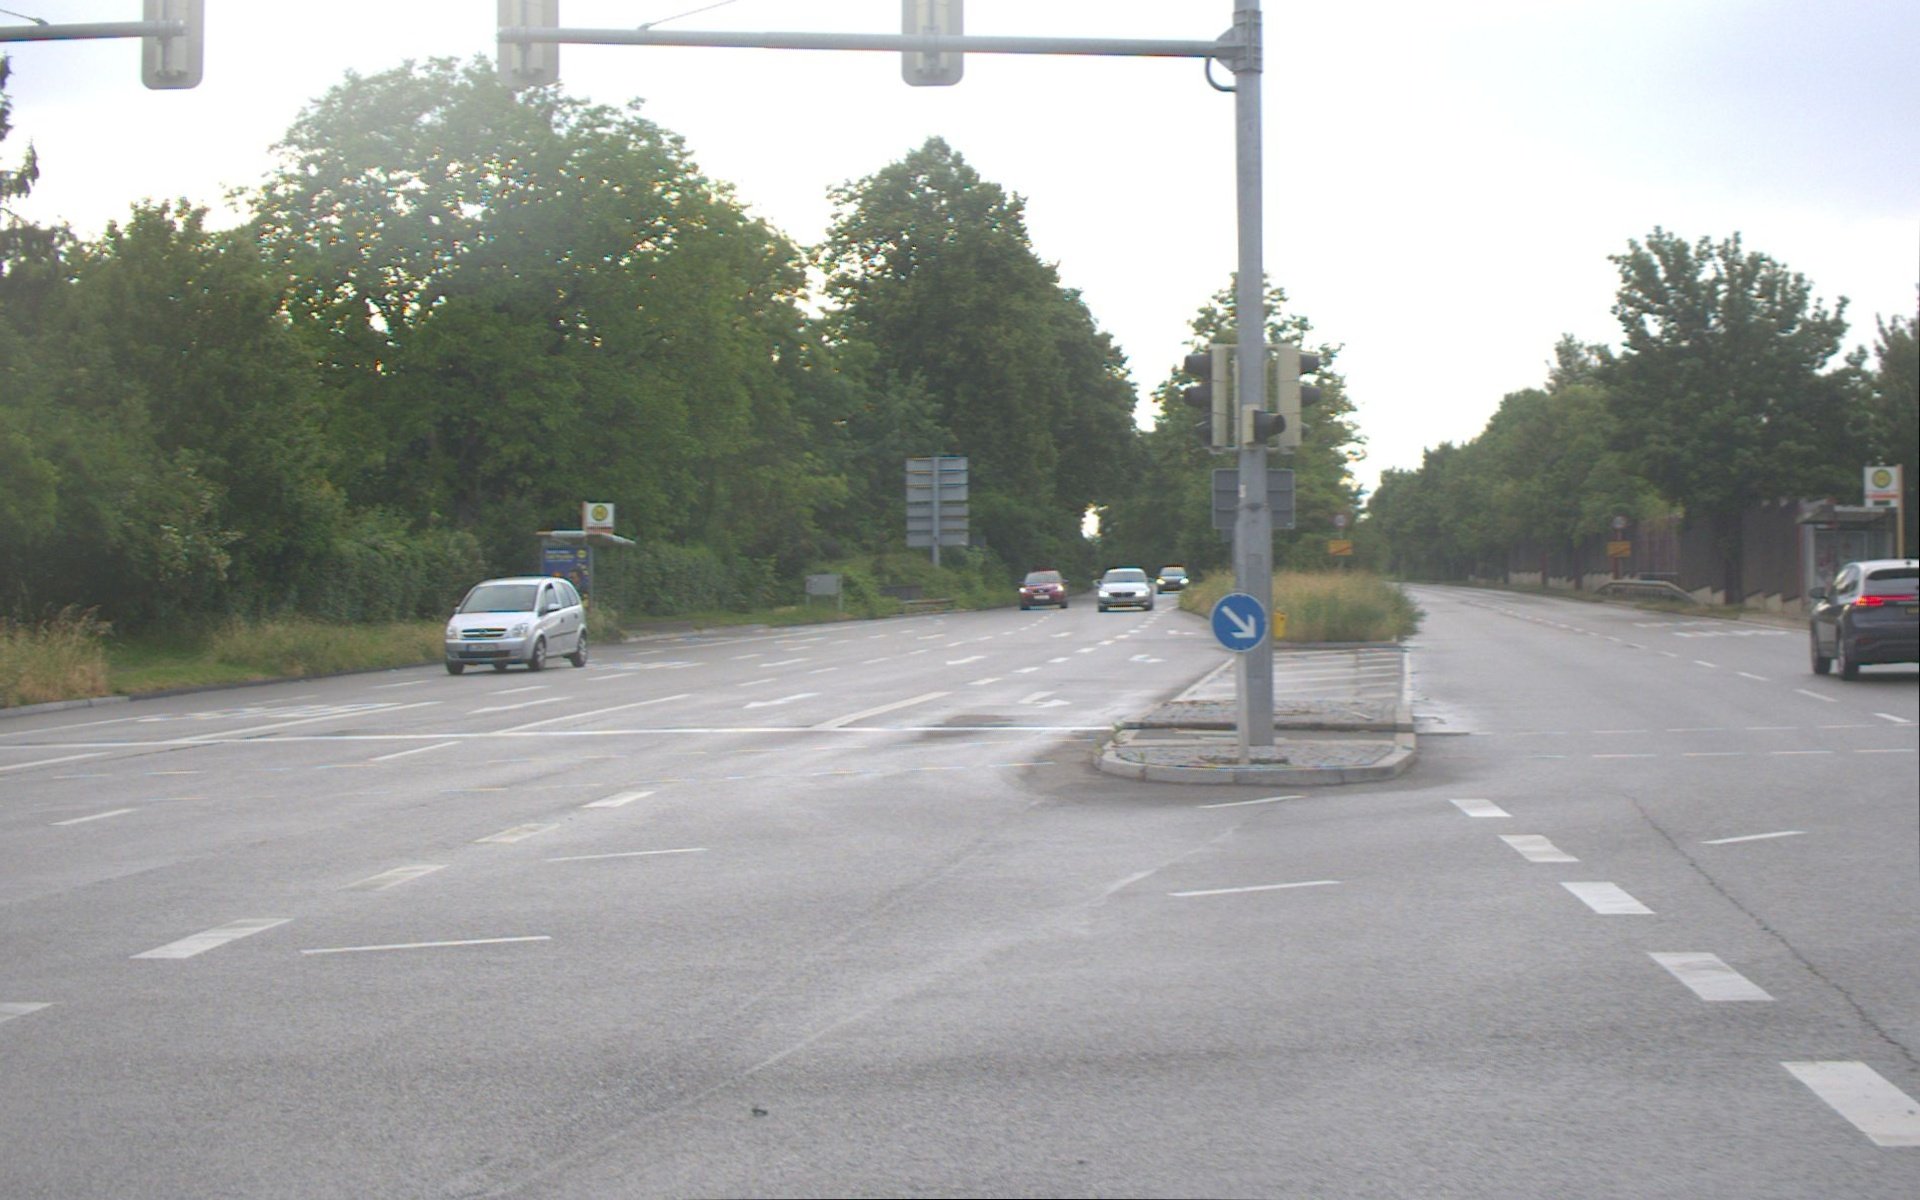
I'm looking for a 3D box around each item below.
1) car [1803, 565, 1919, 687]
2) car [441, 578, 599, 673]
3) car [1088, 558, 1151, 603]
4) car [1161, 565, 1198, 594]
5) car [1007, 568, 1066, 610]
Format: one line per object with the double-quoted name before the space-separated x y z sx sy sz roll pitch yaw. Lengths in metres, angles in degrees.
"car" 11.737 0.295 43.047 1.745 1.465 4.165 0 0 6
"car" -7.698 0.419 60.555 1.769 1.590 4.488 0 0 6
"car" 5.510 -0.670 118.167 1.894 1.529 4.488 0 0 6
"car" 12.318 -1.148 192.915 1.894 1.590 4.488 0 0 6
"car" 2.992 -0.431 133.498 1.894 1.590 4.488 0 0 6
